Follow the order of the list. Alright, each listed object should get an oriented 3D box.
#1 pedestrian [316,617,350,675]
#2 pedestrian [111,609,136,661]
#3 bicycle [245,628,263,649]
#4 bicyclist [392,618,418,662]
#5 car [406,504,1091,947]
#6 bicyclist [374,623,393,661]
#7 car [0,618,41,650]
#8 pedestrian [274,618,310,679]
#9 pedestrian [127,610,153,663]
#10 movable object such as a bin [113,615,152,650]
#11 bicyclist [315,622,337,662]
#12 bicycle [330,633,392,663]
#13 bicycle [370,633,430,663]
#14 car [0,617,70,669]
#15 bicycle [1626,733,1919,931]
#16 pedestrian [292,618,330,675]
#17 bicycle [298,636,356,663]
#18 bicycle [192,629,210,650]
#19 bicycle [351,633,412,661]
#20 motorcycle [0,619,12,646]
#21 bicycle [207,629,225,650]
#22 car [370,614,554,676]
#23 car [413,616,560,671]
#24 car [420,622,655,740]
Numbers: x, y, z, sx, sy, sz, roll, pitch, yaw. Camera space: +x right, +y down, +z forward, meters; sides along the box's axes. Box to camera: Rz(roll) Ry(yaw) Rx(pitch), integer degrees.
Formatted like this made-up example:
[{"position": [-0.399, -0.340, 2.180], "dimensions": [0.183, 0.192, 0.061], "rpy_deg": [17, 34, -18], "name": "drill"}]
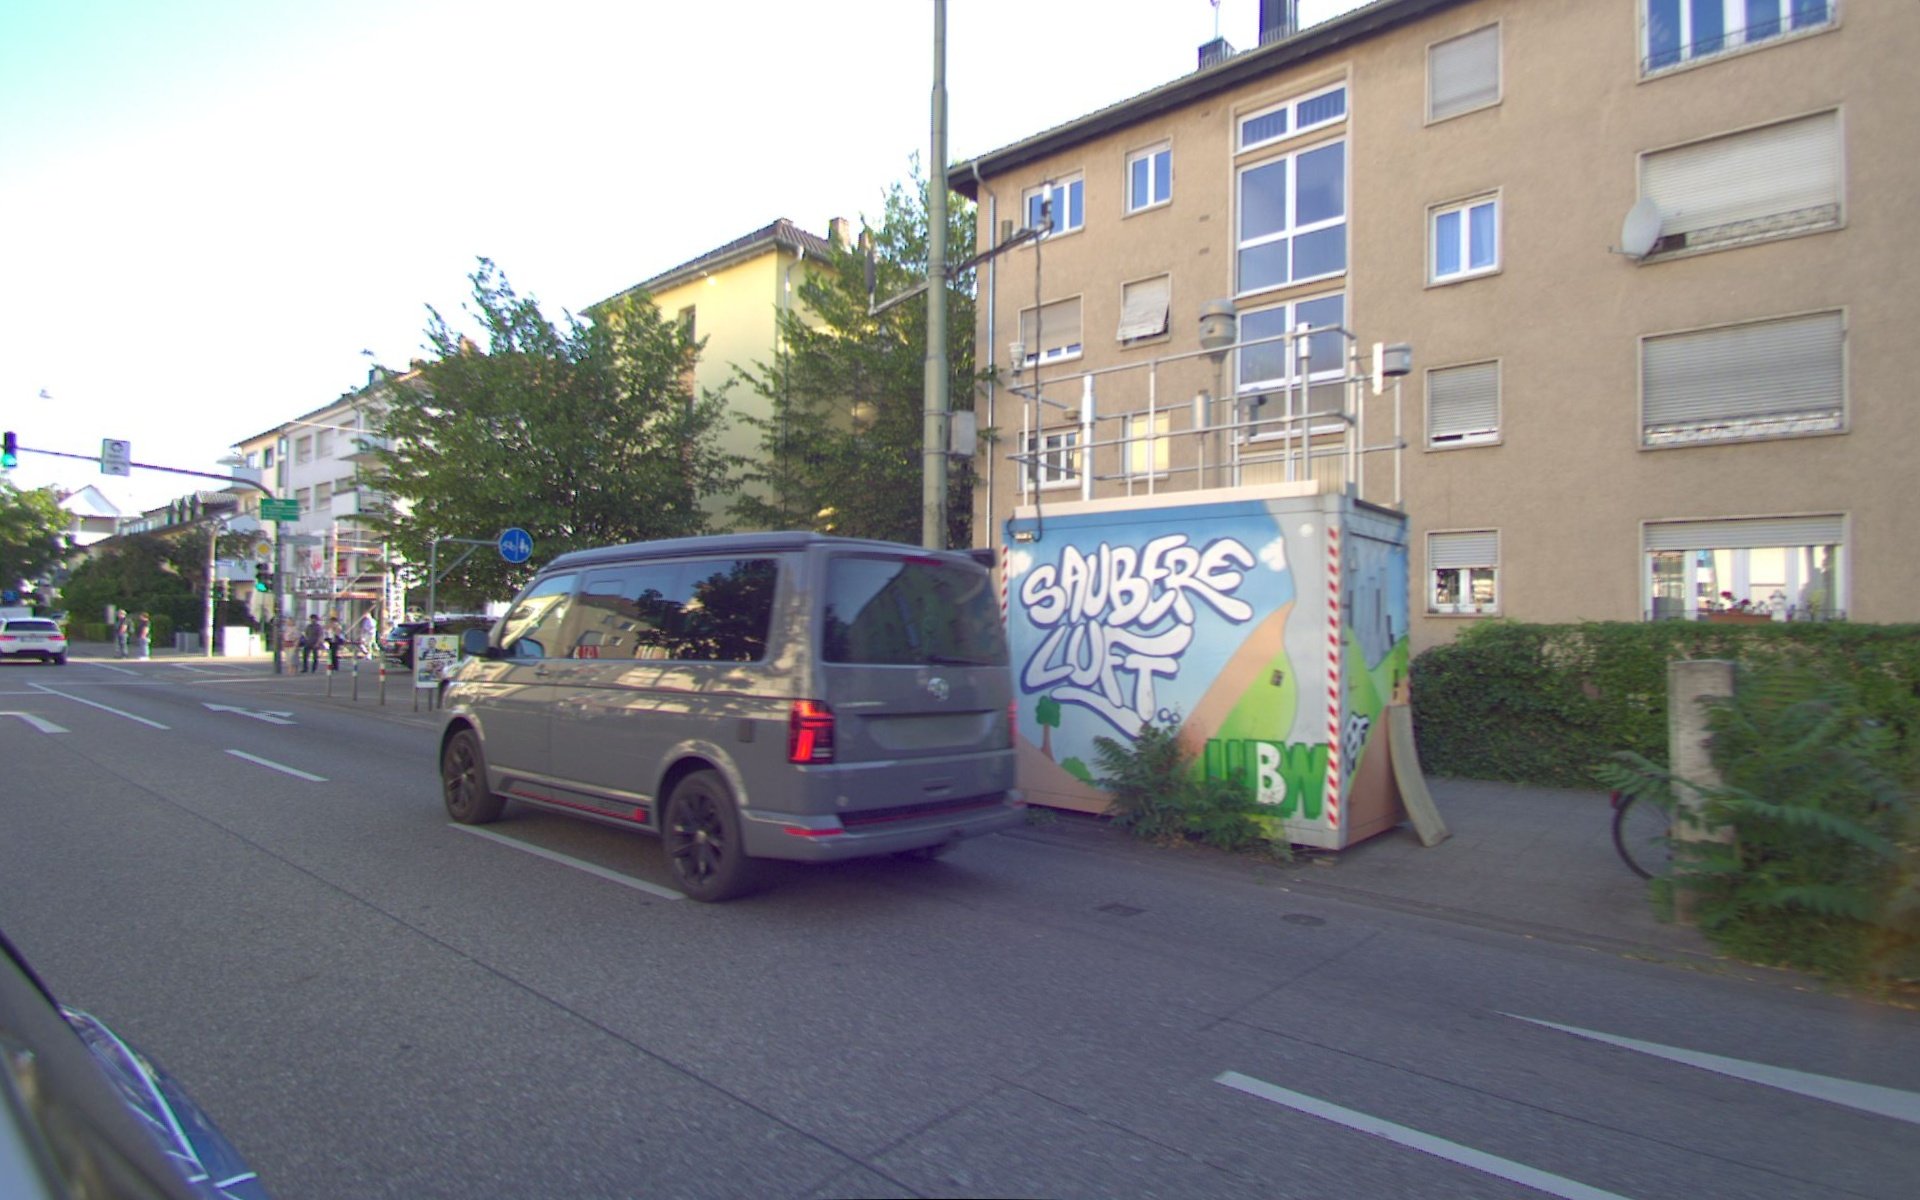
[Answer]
[{"position": [-18.310, 1.338, 29.560], "dimensions": [0.598, 1.641, 0.752], "rpy_deg": [-1, 2, -12], "name": "pedestrian"}, {"position": [-33.144, 1.369, 40.103], "dimensions": [0.739, 2.029, 0.631], "rpy_deg": [-1, -2, 42], "name": "pedestrian"}, {"position": [-35.044, 1.898, 50.232], "dimensions": [1.477, 1.022, 0.433], "rpy_deg": [-1, -2, 44], "name": "bicycle"}, {"position": [-22.235, 1.587, 40.550], "dimensions": [0.748, 1.734, 0.601], "rpy_deg": [-2, -3, 35], "name": "bicyclist"}, {"position": [-1.683, 0.640, 6.821], "dimensions": [4.775, 1.961, 1.973], "rpy_deg": [-1, -4, 41], "name": "car"}, {"position": [-25.228, 1.854, 44.282], "dimensions": [0.677, 1.606, 0.752], "rpy_deg": [3, -1, -30], "name": "bicyclist"}, {"position": [-49.636, 1.740, 52.867], "dimensions": [3.946, 1.626, 1.788], "rpy_deg": [-1, -2, 38], "name": "car"}, {"position": [-18.461, 1.323, 27.964], "dimensions": [0.749, 1.606, 0.601], "rpy_deg": [0, 2, 38], "name": "pedestrian"}, {"position": [-31.837, 1.407, 39.290], "dimensions": [0.814, 2.029, 0.637], "rpy_deg": [0, -1, 42], "name": "pedestrian"}, {"position": [-42.203, 1.635, 51.617], "dimensions": [1.180, 1.670, 1.292], "rpy_deg": [0, 2, 40], "name": "movable object such as a bin"}, {"position": [-26.353, 1.741, 42.090], "dimensions": [0.662, 1.666, 0.751], "rpy_deg": [2, -3, -39], "name": "bicyclist"}, {"position": [-23.608, 1.885, 39.936], "dimensions": [0.726, 1.175, 1.976], "rpy_deg": [-2, -3, 35], "name": "bicycle"}, {"position": [-22.328, 1.915, 40.401], "dimensions": [0.726, 1.166, 1.976], "rpy_deg": [-2, -3, 35], "name": "bicycle"}, {"position": [-29.185, 1.302, 31.320], "dimensions": [4.669, 1.485, 1.817], "rpy_deg": [-1, -4, 41], "name": "car"}, {"position": [4.551, 1.226, 5.487], "dimensions": [1.542, 0.868, 0.367], "rpy_deg": [-1, -1, 38], "name": "bicycle"}, {"position": [-19.116, 1.358, 29.820], "dimensions": [0.607, 1.670, 0.741], "rpy_deg": [-1, -2, 34], "name": "pedestrian"}, {"position": [-26.331, 2.042, 42.099], "dimensions": [1.967, 1.097, 0.729], "rpy_deg": [2, -3, -39], "name": "bicycle"}, {"position": [-36.598, 1.901, 48.803], "dimensions": [1.477, 1.022, 0.433], "rpy_deg": [-1, -2, 44], "name": "bicycle"}, {"position": [-25.279, 2.061, 44.256], "dimensions": [2.233, 1.097, 0.730], "rpy_deg": [3, -1, -30], "name": "bicycle"}, {"position": [-56.576, 1.883, 58.787], "dimensions": [2.877, 1.547, 1.251], "rpy_deg": [0, -2, 27], "name": "motorcycle"}, {"position": [-36.176, 1.911, 49.229], "dimensions": [1.477, 1.022, 0.433], "rpy_deg": [-1, -2, 44], "name": "bicycle"}, {"position": [-14.589, 1.268, 29.855], "dimensions": [1.841, 1.626, 4.547], "rpy_deg": [-1, -1, 38], "name": "car"}, {"position": [-17.018, 1.540, 36.552], "dimensions": [1.907, 1.862, 4.426], "rpy_deg": [-1, -2, 40], "name": "car"}, {"position": [-6.237, 1.072, 14.733], "dimensions": [3.942, 1.490, 1.635], "rpy_deg": [-1, -2, 42], "name": "car"}]
